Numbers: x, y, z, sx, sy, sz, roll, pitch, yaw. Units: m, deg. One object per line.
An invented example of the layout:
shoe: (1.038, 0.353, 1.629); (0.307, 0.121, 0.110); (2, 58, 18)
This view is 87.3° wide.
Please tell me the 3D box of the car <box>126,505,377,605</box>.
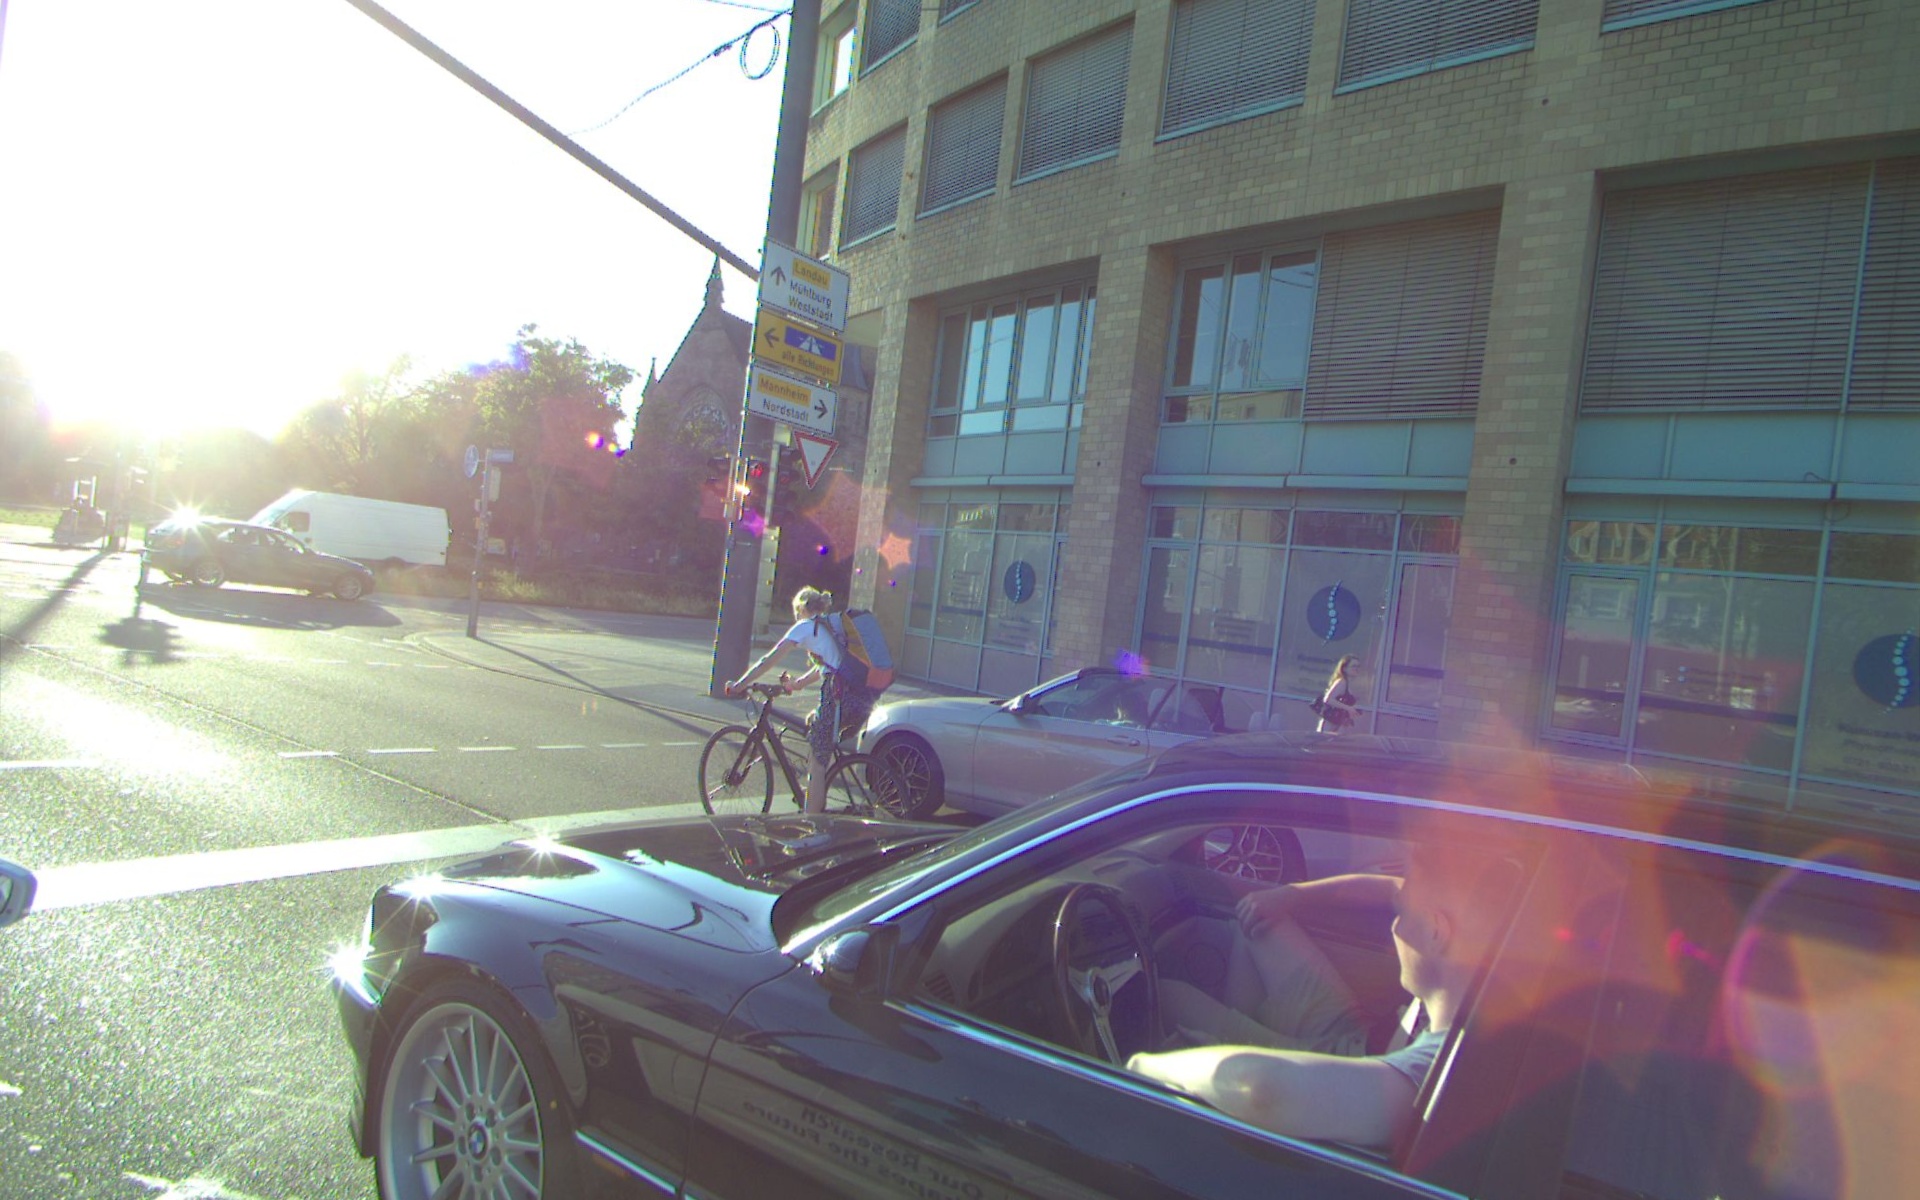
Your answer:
car: (-15.171, -0.917, 21.734); (1.691, 1.451, 3.990); (9, -1, 36)

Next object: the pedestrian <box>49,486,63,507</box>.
pedestrian: (-80.378, -9.178, 89.479); (0.795, 1.722, 0.790); (6, 1, -44)

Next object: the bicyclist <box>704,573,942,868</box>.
bicyclist: (-0.802, 0.670, 5.925); (1.020, 1.501, 0.657); (7, -1, 29)

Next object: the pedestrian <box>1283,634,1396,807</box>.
pedestrian: (3.869, 1.199, 10.243); (0.786, 1.589, 0.678); (9, 2, 29)

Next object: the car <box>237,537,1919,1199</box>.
car: (0.826, 0.887, 1.919); (4.563, 1.370, 1.833); (8, 0, 31)

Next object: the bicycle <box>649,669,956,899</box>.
bicycle: (-0.961, 1.024, 5.957); (1.745, 0.966, 0.516); (8, -1, 29)

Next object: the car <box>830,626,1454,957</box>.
car: (1.285, 1.212, 7.662); (4.195, 1.370, 1.786); (8, 0, 31)

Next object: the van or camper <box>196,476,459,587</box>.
van or camper: (-21.464, -2.242, 34.574); (2.556, 2.708, 7.048); (9, 1, 33)
